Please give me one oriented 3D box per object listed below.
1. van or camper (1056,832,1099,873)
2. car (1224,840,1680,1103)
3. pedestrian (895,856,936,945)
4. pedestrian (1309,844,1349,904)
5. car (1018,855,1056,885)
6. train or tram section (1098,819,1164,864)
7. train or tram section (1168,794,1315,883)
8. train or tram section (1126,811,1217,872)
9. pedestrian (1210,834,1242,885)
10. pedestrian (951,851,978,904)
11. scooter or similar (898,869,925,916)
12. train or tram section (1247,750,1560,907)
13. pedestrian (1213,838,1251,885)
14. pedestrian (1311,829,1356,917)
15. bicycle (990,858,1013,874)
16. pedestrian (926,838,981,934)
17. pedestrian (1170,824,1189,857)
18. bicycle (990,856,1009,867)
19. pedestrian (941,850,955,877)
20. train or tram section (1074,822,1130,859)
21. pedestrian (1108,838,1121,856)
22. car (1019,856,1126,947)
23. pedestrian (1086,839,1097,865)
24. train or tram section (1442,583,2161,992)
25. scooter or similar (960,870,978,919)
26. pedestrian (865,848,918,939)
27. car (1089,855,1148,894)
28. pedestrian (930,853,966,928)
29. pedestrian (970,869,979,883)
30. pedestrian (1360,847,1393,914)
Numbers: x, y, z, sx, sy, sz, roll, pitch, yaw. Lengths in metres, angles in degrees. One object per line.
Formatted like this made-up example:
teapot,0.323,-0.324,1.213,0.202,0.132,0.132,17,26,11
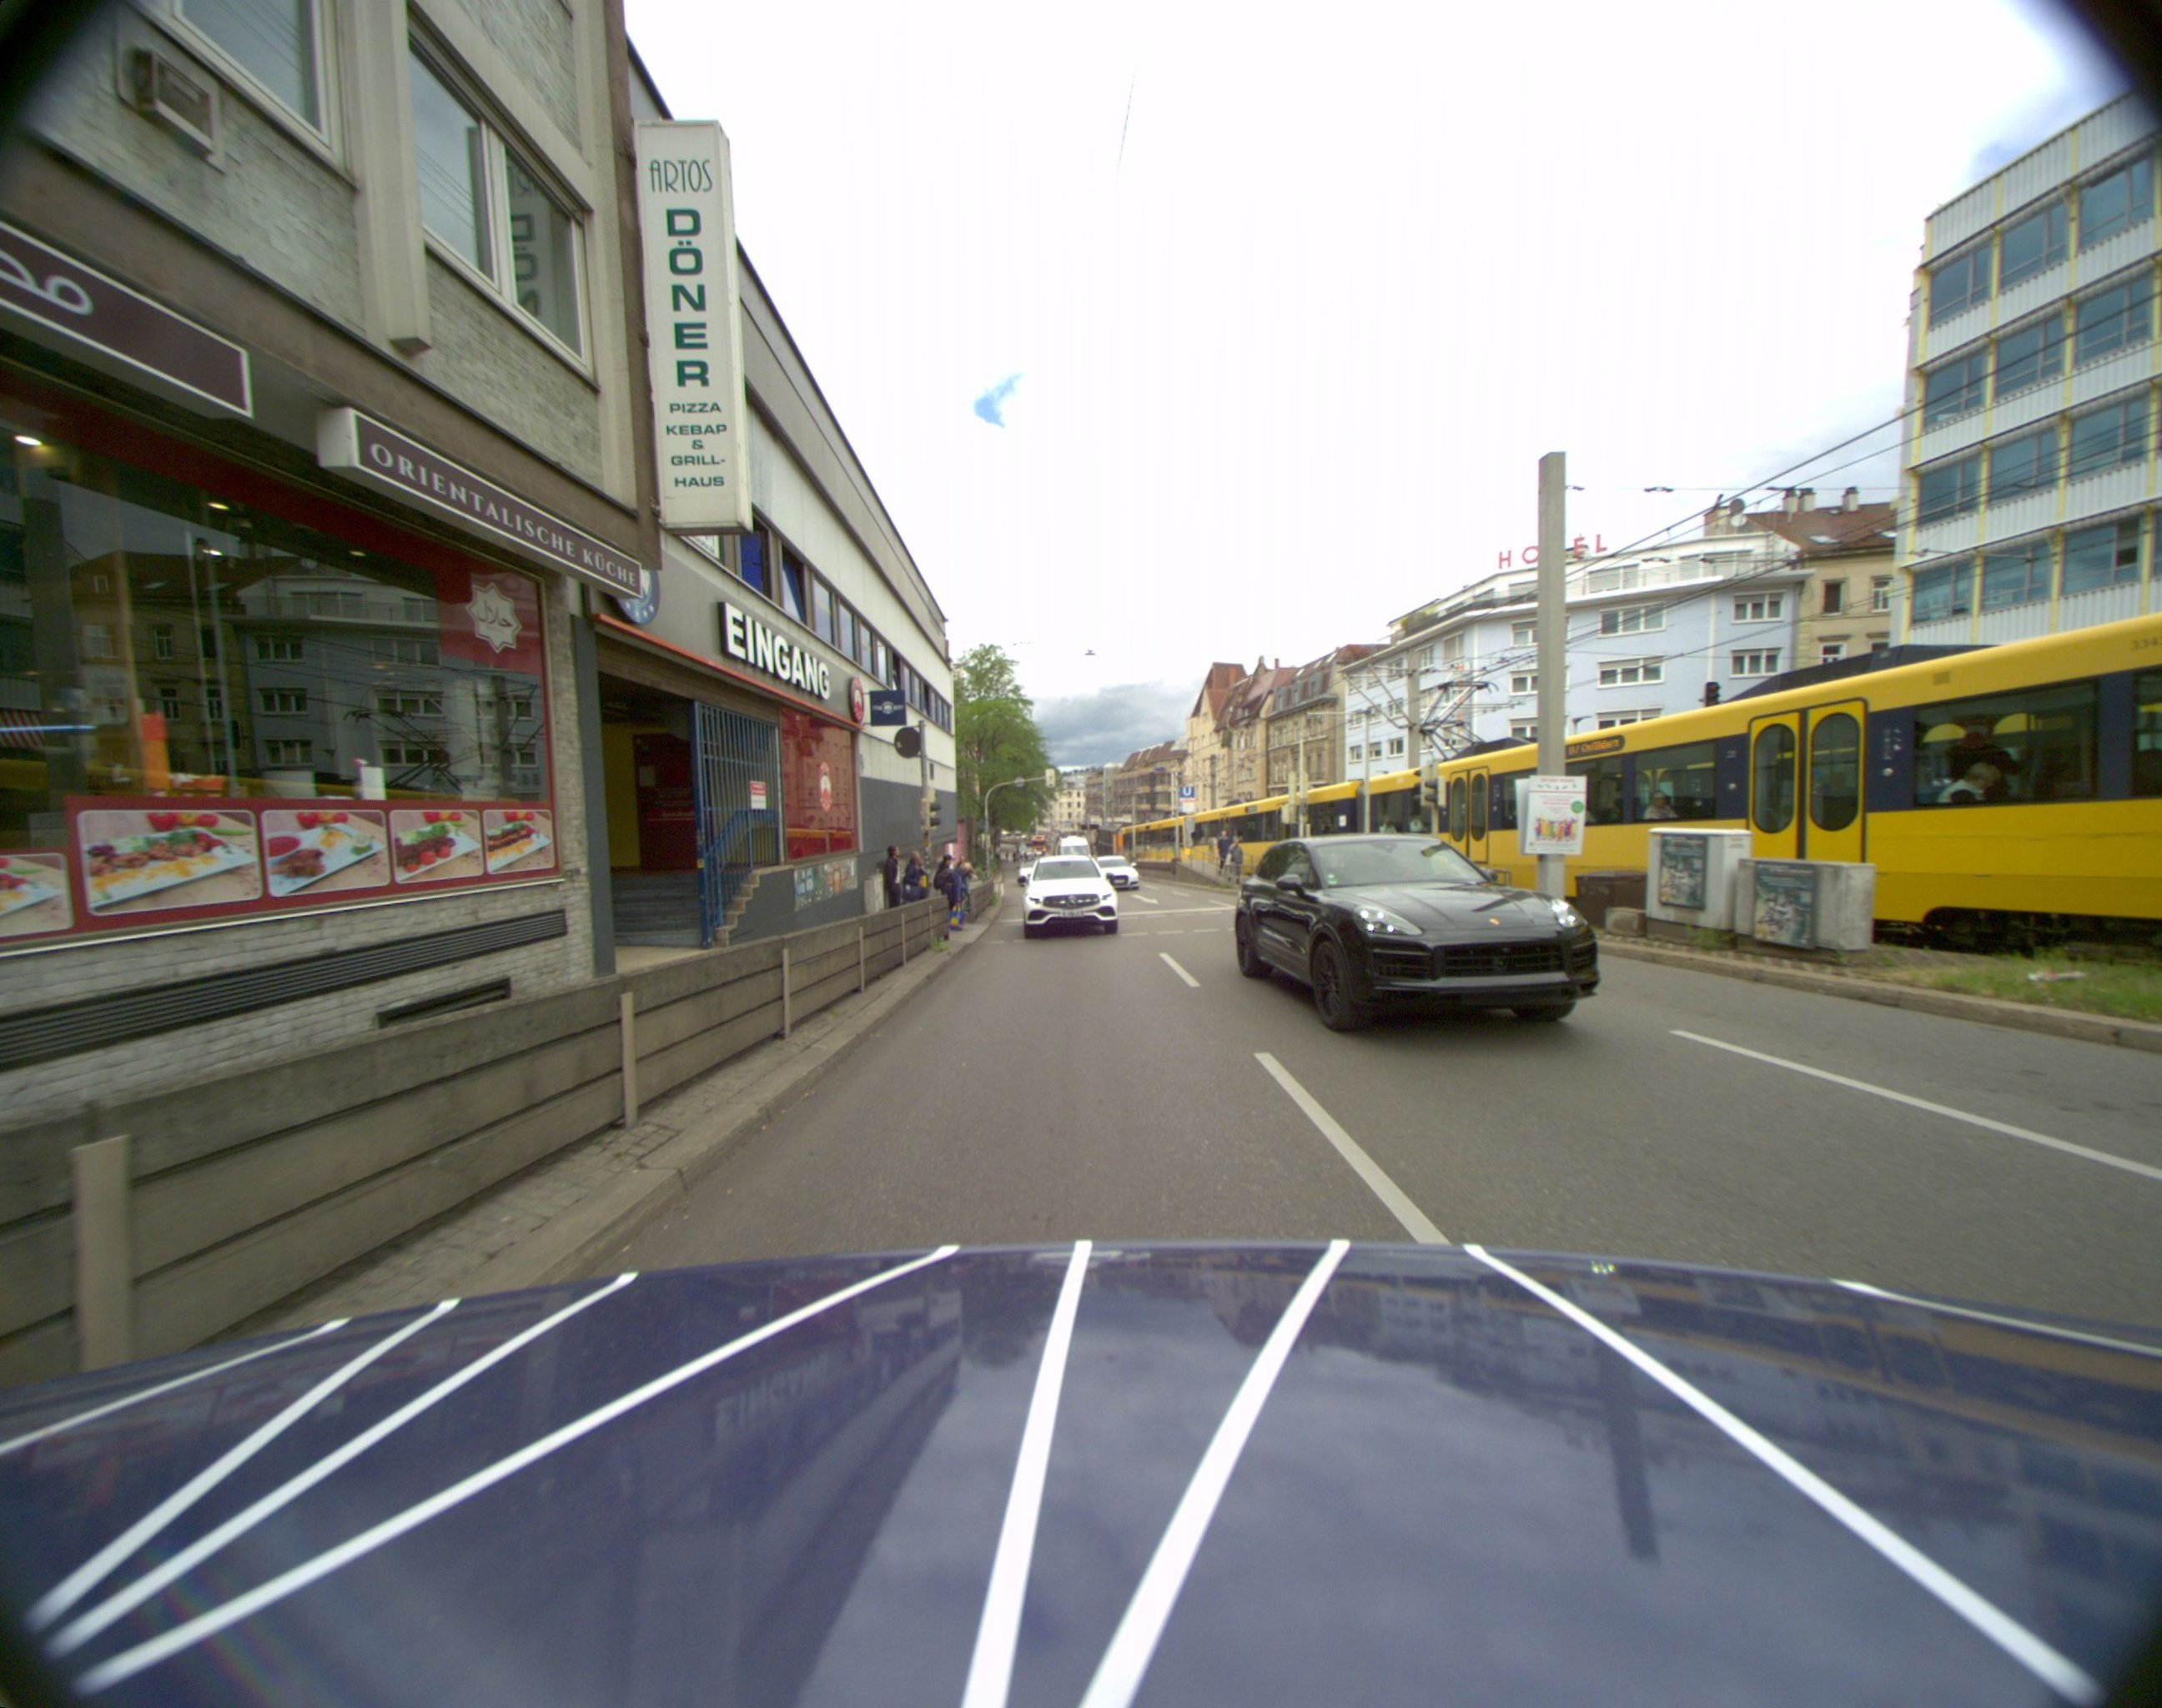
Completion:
van or camper,-0.322,-0.114,51.702,2.209,2.543,6.369,-3,1,-6
car,2.948,0.764,7.476,2.033,1.675,4.780,-2,1,-1
pedestrian,-3.201,0.884,14.732,0.563,1.642,0.591,4,1,-2
pedestrian,6.936,0.535,21.264,0.678,1.616,1.000,-1,1,-6
car,-2.516,0.864,42.661,1.671,1.521,3.996,-2,1,-9
train or tram section,4.113,-1.013,67.325,2.890,3.422,14.219,-4,1,-8
train or tram section,7.626,-0.704,39.194,2.890,3.643,14.219,-3,1,-7
train or tram section,5.931,-0.913,53.286,2.931,3.538,14.218,-3,1,-7
pedestrian,5.800,0.213,30.470,0.932,1.959,1.232,-1,4,-6
pedestrian,-4.004,0.788,26.168,0.722,1.775,0.883,-3,1,-4
scooter or similar,-4.802,1.071,21.579,0.428,1.268,0.981,1,1,8
train or tram section,9.228,-0.665,25.067,2.890,3.642,14.220,-2,1,-6
pedestrian,5.701,0.275,28.765,1.120,1.672,1.040,-1,6,-6
pedestrian,6.185,0.439,18.689,0.967,2.056,1.032,0,4,14
bicycle,-6.161,0.937,58.986,1.746,1.214,0.541,-1,1,-10
pedestrian,-2.857,0.712,17.125,0.949,2.051,0.778,5,1,-2
pedestrian,4.887,-0.671,37.900,0.780,1.575,0.665,-1,1,-6
bicycle,-9.731,0.896,91.031,2.094,1.079,0.712,-4,1,-13
pedestrian,-9.776,0.685,55.837,0.706,1.879,0.880,-3,1,0
train or tram section,1.987,-1.343,81.282,2.891,3.399,14.216,-4,1,-10
pedestrian,2.416,-0.485,54.744,0.852,1.298,0.778,0,1,-5
car,-0.345,0.906,16.897,1.936,1.622,4.770,-2,1,-5
pedestrian,0.927,-0.168,67.897,0.838,2.271,0.772,-1,1,-6
train or tram section,10.673,-0.657,10.791,2.890,3.642,14.466,-2,1,-6
scooter or similar,-3.089,1.107,20.924,0.355,1.268,0.813,3,1,-3
pedestrian,-3.976,0.806,15.960,0.729,1.797,0.654,8,1,-1
car,1.564,0.828,33.262,1.898,1.466,4.528,-2,1,-5
pedestrian,-3.190,0.865,18.283,0.740,1.783,0.655,1,1,-1
pedestrian,-6.791,1.405,48.278,0.485,0.905,0.583,-1,0,-3
pedestrian,6.687,0.587,17.210,0.577,1.456,0.676,1,5,14
